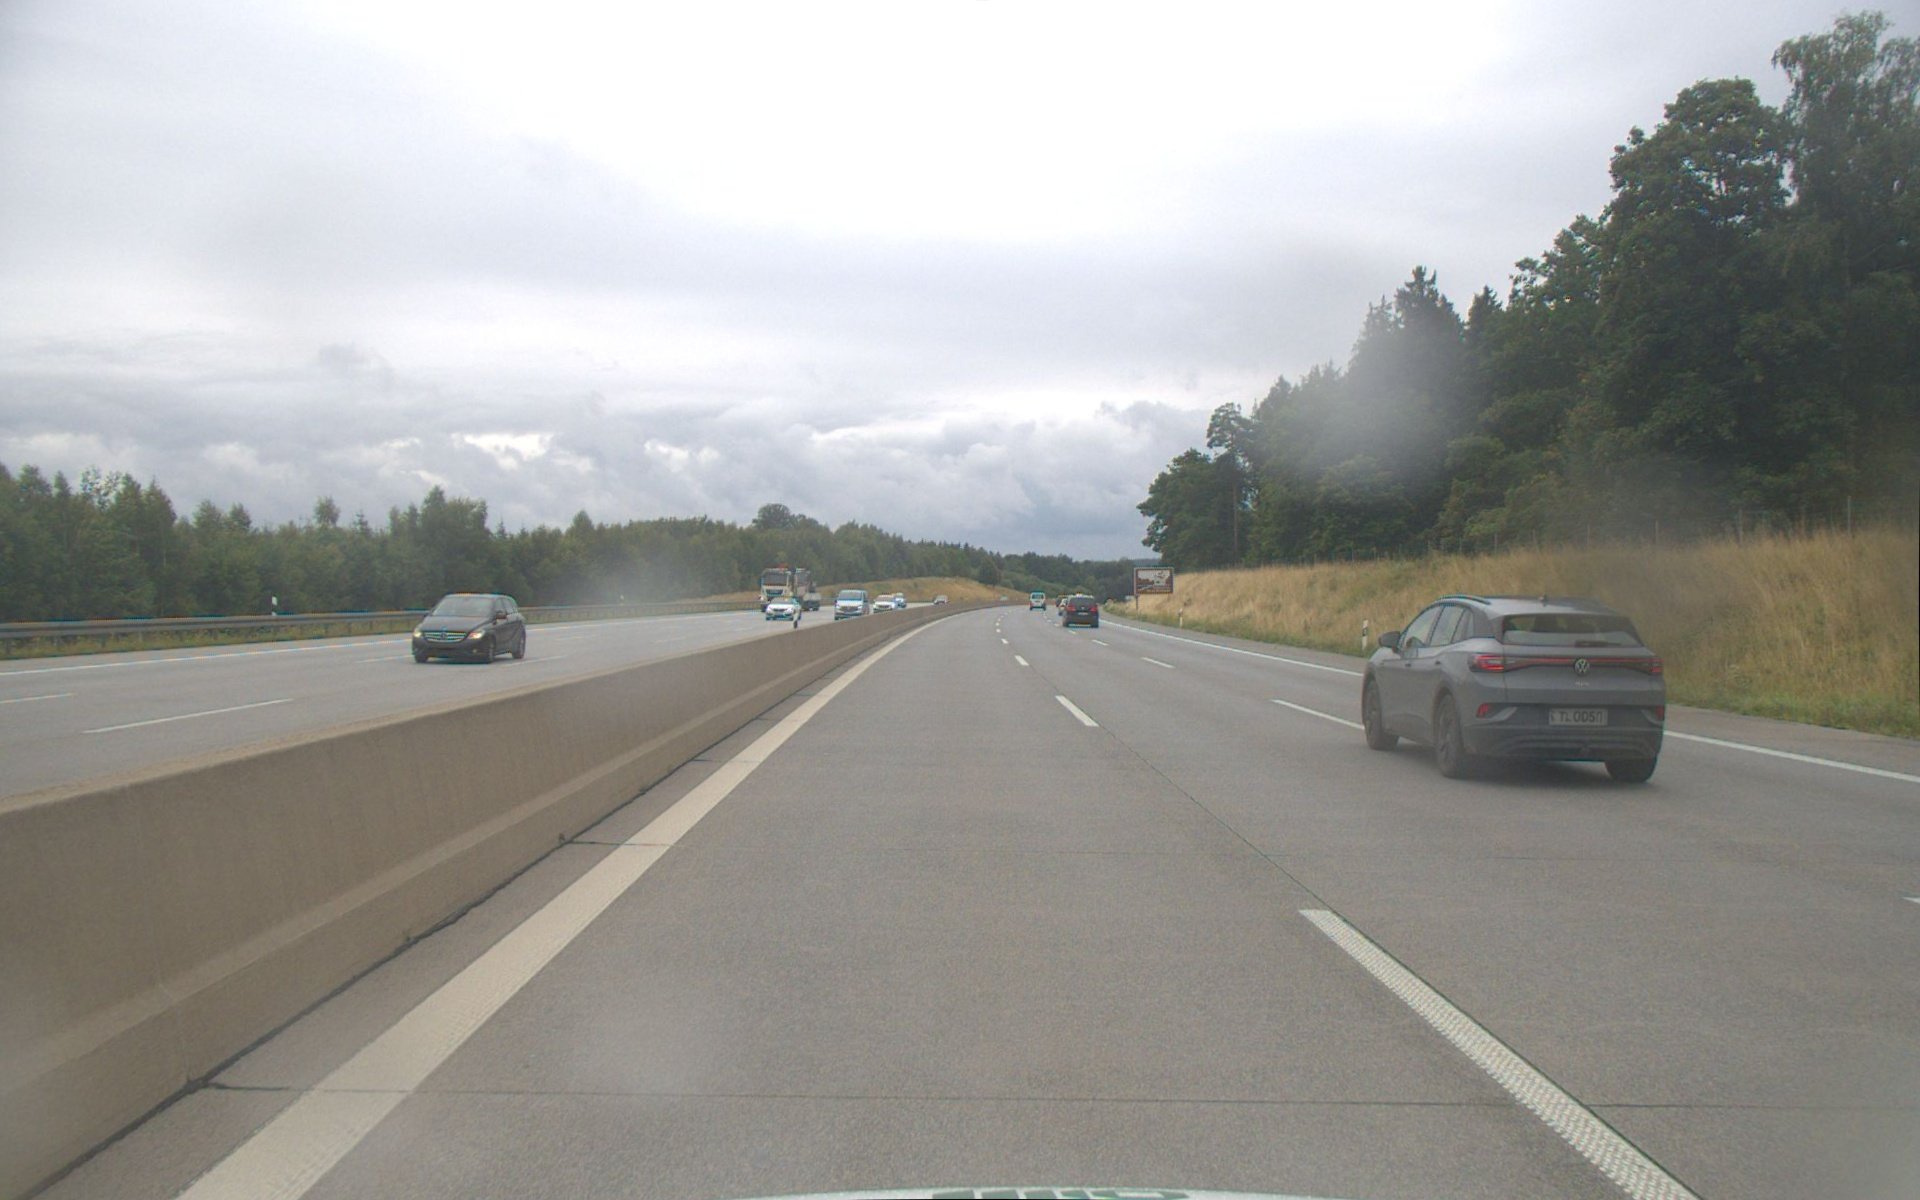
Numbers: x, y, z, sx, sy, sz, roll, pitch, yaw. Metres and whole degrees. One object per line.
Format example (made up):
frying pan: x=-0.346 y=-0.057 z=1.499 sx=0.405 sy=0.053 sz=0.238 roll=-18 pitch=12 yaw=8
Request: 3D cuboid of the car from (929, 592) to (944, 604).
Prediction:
car: x=-2.911 y=-0.194 z=204.456 sx=1.726 sy=1.289 sz=4.493 roll=-1 pitch=-2 yaw=0

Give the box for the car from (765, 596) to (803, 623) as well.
car: x=-10.734 y=0.551 z=101.019 sx=1.701 sy=1.391 sz=4.098 roll=3 pitch=2 yaw=2

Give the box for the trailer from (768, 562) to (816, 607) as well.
trailer: x=-14.253 y=-1.252 z=141.391 sx=2.533 sy=3.605 sz=13.724 roll=0 pitch=0 yaw=1

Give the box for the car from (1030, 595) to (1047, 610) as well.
car: x=8.973 y=0.293 z=188.832 sx=1.803 sy=1.526 sz=4.002 roll=-2 pitch=2 yaw=3

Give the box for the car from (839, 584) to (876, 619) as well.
car: x=-6.514 y=0.068 z=106.013 sx=1.953 sy=2.048 sz=5.525 roll=2 pitch=1 yaw=0

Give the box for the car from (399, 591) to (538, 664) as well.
car: x=-11.686 y=0.601 z=39.639 sx=1.953 sy=1.617 sz=4.770 roll=1 pitch=0 yaw=-1

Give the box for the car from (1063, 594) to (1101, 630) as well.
car: x=6.630 y=0.633 z=89.885 sx=1.748 sy=1.777 sz=3.916 roll=-2 pitch=1 yaw=1

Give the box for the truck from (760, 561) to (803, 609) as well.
truck: x=-14.327 y=-1.227 z=133.333 sx=2.533 sy=3.716 sz=7.661 roll=0 pitch=0 yaw=1

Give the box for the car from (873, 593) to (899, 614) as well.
car: x=-5.748 y=0.256 z=128.935 sx=1.679 sy=1.445 sz=4.215 roll=3 pitch=2 yaw=2

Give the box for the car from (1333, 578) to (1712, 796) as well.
car: x=5.213 y=0.681 z=16.226 sx=1.859 sy=1.719 sz=5.266 roll=1 pitch=1 yaw=-1
